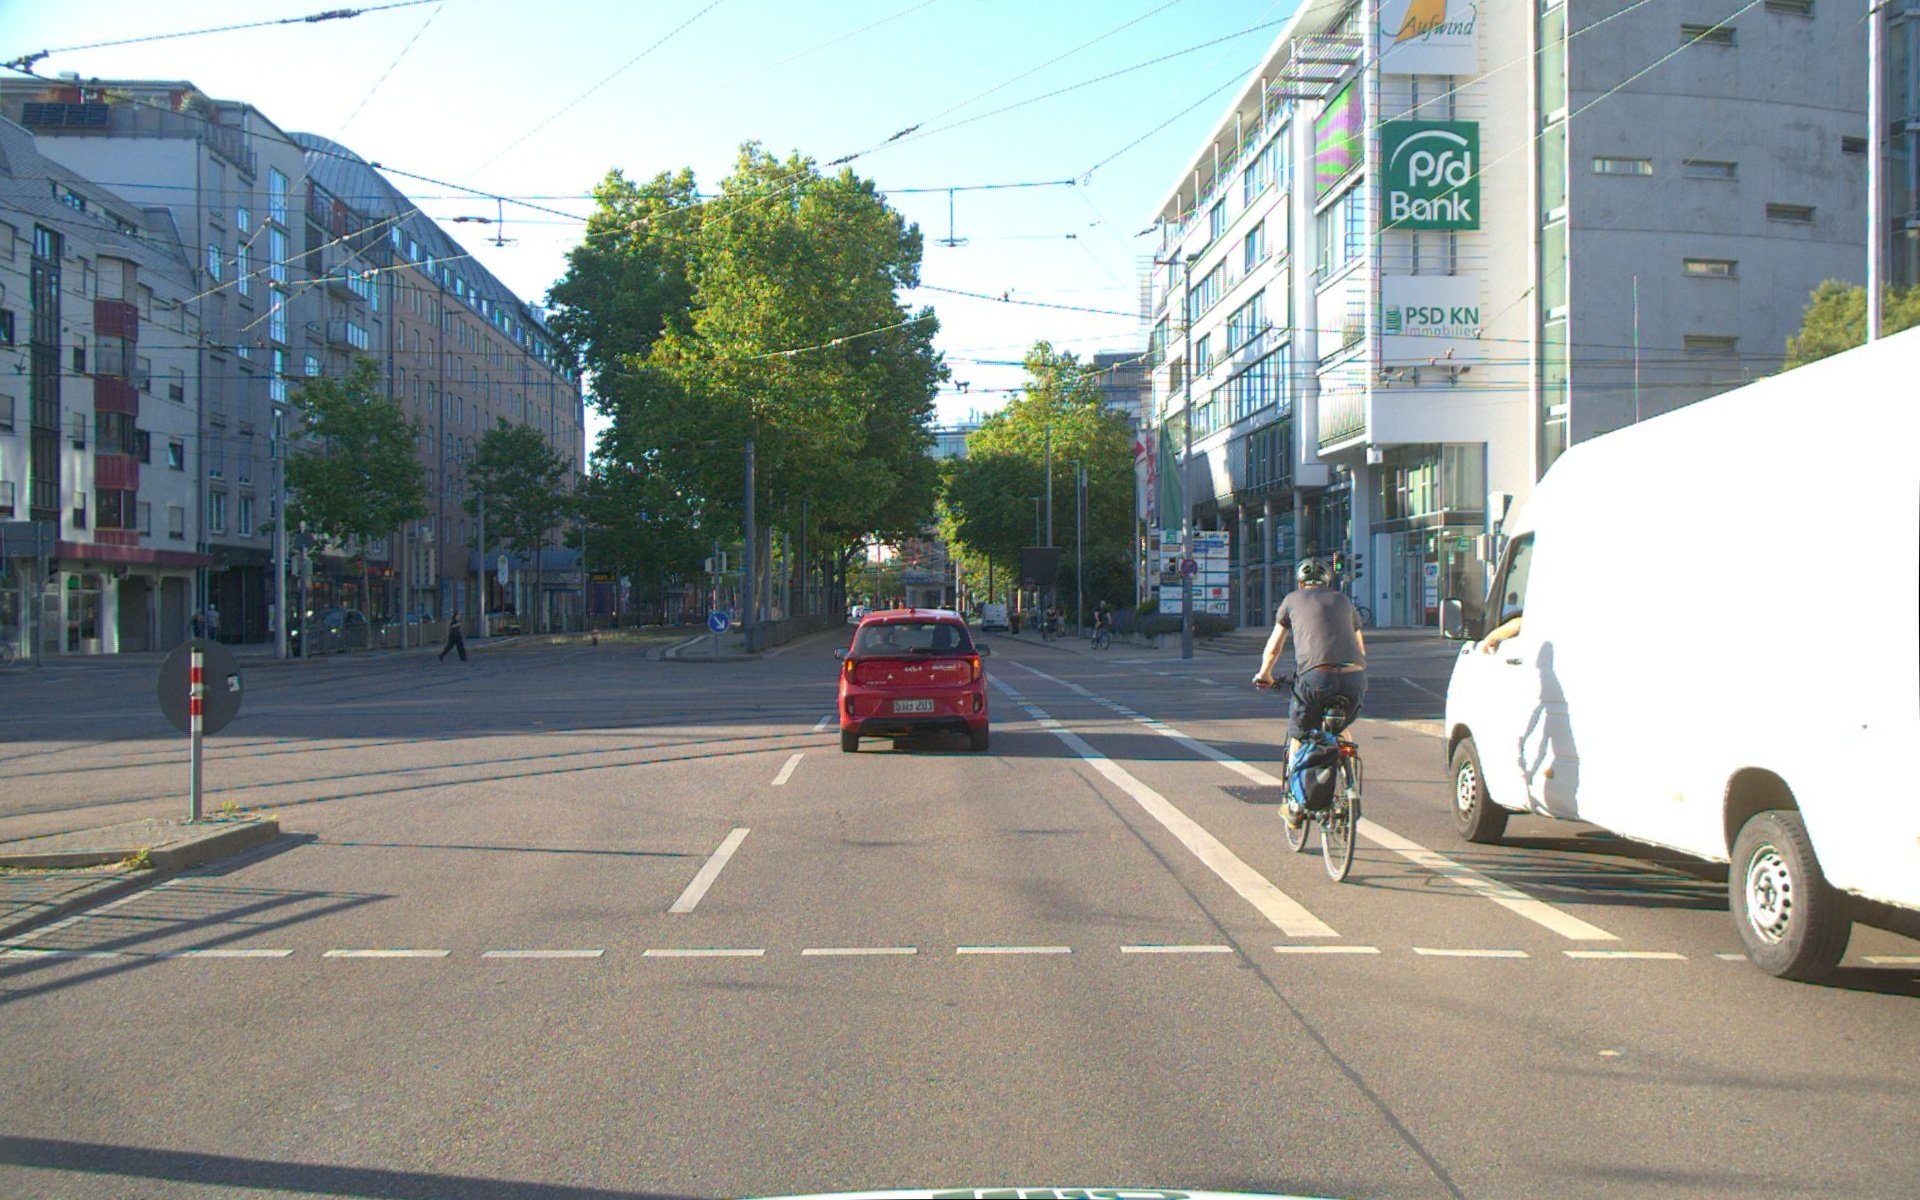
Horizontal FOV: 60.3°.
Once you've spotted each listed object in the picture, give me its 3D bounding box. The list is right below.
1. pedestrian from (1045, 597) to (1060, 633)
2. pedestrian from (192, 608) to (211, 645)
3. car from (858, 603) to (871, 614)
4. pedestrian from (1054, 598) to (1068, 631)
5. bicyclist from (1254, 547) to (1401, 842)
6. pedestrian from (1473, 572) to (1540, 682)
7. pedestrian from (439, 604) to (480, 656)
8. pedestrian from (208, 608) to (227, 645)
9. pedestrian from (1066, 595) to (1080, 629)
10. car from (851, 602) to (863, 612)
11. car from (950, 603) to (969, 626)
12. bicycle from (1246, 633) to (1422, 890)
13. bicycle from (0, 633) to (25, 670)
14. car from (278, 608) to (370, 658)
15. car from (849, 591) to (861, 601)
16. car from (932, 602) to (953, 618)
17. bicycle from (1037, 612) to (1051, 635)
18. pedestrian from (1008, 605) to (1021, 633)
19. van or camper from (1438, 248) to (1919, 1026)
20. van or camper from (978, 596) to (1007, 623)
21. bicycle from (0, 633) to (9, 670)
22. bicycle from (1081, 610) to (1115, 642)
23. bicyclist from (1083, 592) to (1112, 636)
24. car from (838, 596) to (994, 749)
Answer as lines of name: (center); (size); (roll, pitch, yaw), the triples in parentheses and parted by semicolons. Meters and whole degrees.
pedestrian: (4.451, 0.728, 79.698); (0.633, 1.710, 0.651); (-1, 0, 0)
pedestrian: (-31.064, 1.084, 67.770); (0.524, 1.520, 0.587); (-1, 0, -6)
car: (-14.314, 1.300, 248.383); (1.744, 1.561, 3.406); (0, 0, -7)
pedestrian: (5.443, 0.775, 89.011); (0.553, 1.732, 0.906); (-4, 0, -5)
bicyclist: (2.136, 0.523, 9.728); (0.636, 1.631, 1.089); (-1, 0, 2)
pedestrian: (9.422, 0.457, 28.554); (0.761, 1.855, 1.216); (-1, 0, 2)
pedestrian: (-15.287, 0.910, 50.541); (1.024, 1.571, 0.694); (-1, 0, 2)
pedestrian: (-30.470, 1.092, 67.891); (0.524, 1.520, 0.587); (-1, 0, -6)
pedestrian: (6.101, 0.644, 89.158); (0.530, 1.827, 0.906); (-4, 0, -5)
car: (-15.869, 1.079, 254.907); (1.744, 1.561, 3.406); (0, 0, -7)
car: (-0.038, 1.226, 139.537); (1.602, 1.831, 3.329); (-1, 0, 0)
bicycle: (2.141, 0.873, 9.695); (0.636, 1.303, 1.966); (-1, 0, 2)
bicycle: (-26.766, 1.420, 45.435); (1.807, 1.002, 0.553); (-1, 0, -5)
car: (-23.352, 1.182, 60.900); (1.916, 1.702, 4.258); (-1, 0, -3)
car: (-16.536, -0.620, 260.900); (1.744, 1.616, 3.406); (0, 0, -7)
car: (-1.762, 1.008, 167.241); (1.744, 1.561, 3.506); (0, 0, -7)
bicycle: (4.044, 1.137, 79.666); (0.510, 0.991, 2.201); (-4, 1, 0)
pedestrian: (3.213, 1.139, 97.698); (0.629, 1.607, 0.723); (-4, 0, -5)
van or camper: (4.339, 0.131, 8.404); (1.929, 2.763, 6.304); (0, 0, -1)
van or camper: (2.395, 0.708, 124.036); (1.953, 2.024, 4.743); (0, 0, -1)
bicycle: (-26.856, 1.401, 44.822); (1.807, 1.002, 0.553); (-1, 0, -5)
bicycle: (5.160, 0.970, 61.876); (0.684, 1.117, 1.744); (-4, 1, -14)
bicyclist: (5.141, 0.521, 61.888); (0.709, 1.631, 1.085); (-3, 0, -13)
car: (-0.511, 0.736, 18.549); (1.581, 1.561, 3.410); (0, 0, -2)
